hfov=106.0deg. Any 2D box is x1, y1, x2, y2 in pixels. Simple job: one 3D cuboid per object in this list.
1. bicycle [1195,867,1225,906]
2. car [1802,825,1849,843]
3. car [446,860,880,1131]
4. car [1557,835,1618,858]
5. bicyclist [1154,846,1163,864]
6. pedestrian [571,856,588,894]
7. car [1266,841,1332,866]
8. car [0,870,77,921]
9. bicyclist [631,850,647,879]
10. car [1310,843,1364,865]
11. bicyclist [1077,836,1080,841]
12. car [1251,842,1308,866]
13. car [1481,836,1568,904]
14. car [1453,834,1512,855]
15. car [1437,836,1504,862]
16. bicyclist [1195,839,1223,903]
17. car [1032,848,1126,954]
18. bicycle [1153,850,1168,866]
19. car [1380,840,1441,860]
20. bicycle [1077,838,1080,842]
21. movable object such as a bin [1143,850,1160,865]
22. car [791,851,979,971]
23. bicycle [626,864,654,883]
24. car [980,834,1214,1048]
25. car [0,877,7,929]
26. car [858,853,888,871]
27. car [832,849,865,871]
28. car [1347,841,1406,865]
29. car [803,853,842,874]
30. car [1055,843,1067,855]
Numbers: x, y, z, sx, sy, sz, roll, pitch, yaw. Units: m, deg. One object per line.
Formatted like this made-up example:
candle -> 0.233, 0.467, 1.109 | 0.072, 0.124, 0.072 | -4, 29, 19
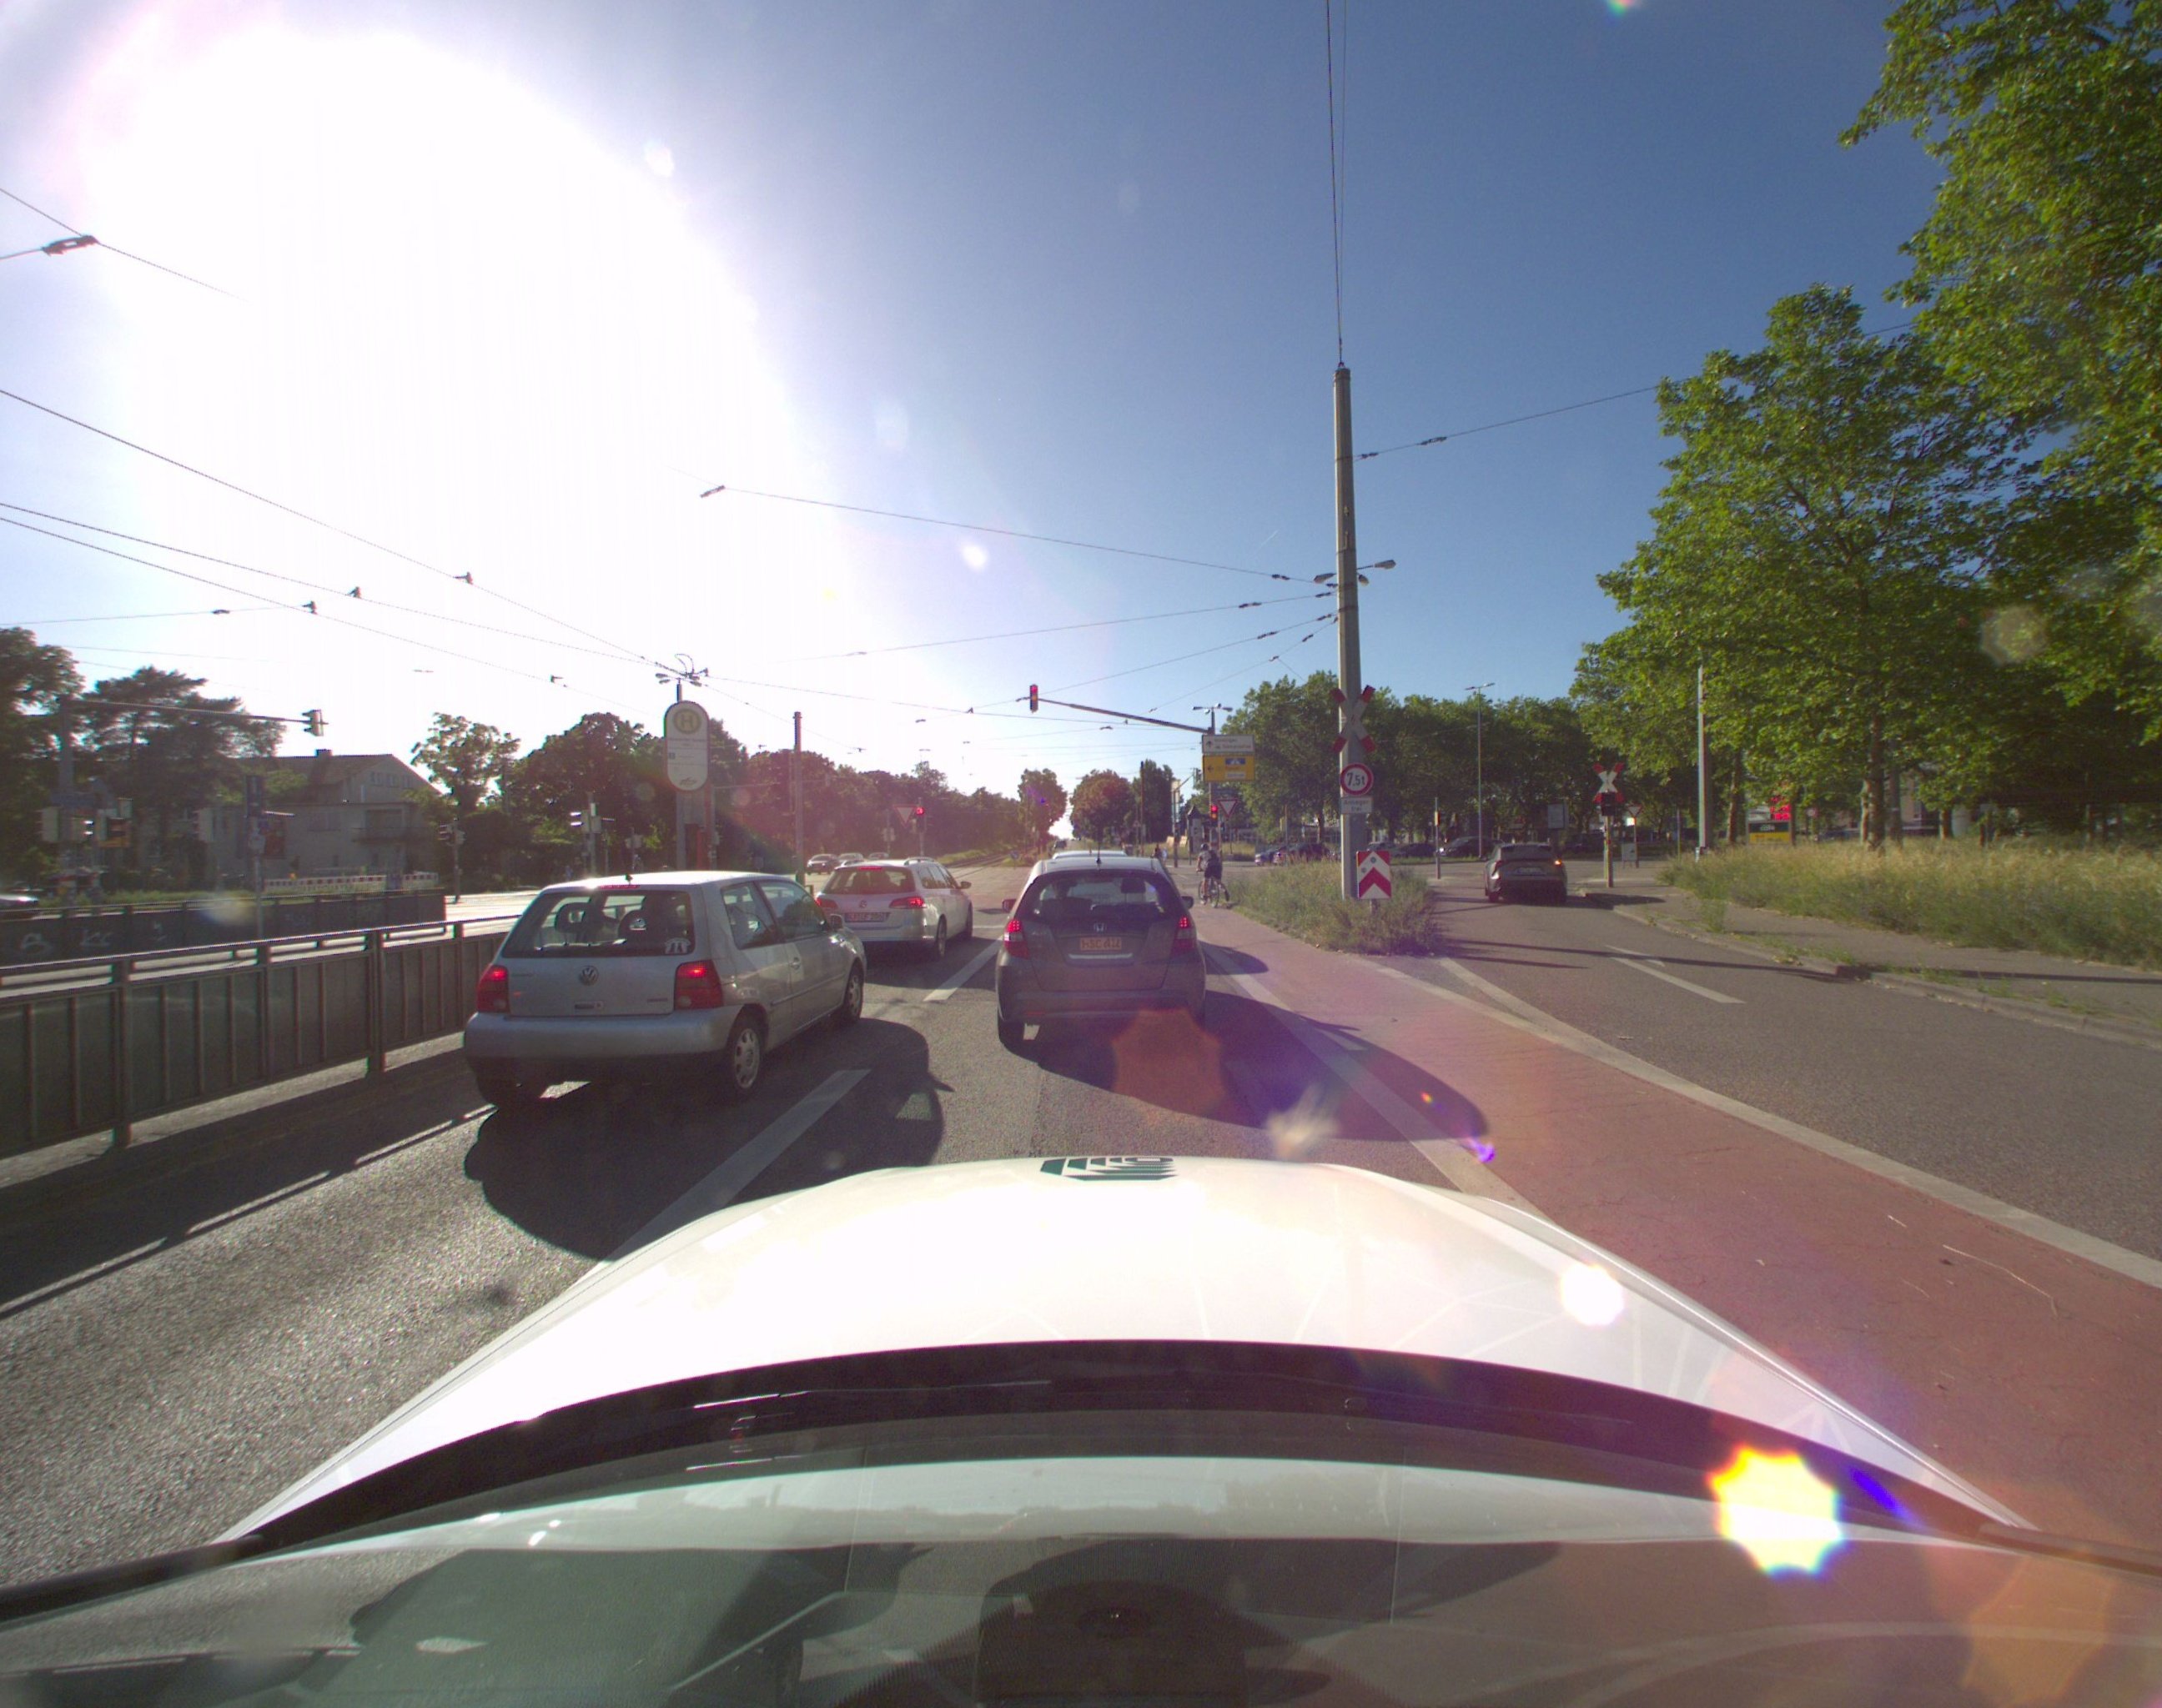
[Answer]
bicycle -> 3.450, 0.850, 21.925 | 0.522, 0.923, 2.090 | -2, 0, 2
car -> 72.277, -1.936, 79.069 | 4.007, 1.618, 1.983 | -2, 0, -26
car -> -2.805, 0.820, 6.357 | 1.576, 1.468, 3.414 | -1, 0, 0
car -> 49.307, -0.711, 79.331 | 5.112, 2.070, 2.120 | -1, 0, -15
bicyclist -> 5.584, 0.075, 58.658 | 0.510, 1.340, 0.562 | -2, 0, -14
pedestrian -> -26.158, 1.107, 42.468 | 0.615, 1.948, 0.767 | -2, 1, -43
car -> 14.954, -0.039, 55.798 | 4.095, 1.600, 1.802 | -2, 0, -23
car -> -33.840, 1.294, 24.404 | 4.258, 1.466, 1.921 | -1, 0, -27
bicyclist -> -25.424, 0.601, 46.822 | 0.487, 1.608, 0.648 | -2, 0, 1
car -> 19.667, -0.005, 62.467 | 3.869, 1.600, 1.698 | -2, 0, -27
bicyclist -> -0.732, -4.605, 243.629 | 0.815, 1.524, 0.966 | 0, -1, 0
car -> 14.650, 0.011, 59.998 | 3.869, 1.600, 1.698 | -2, 0, -27
car -> 12.153, 0.378, 22.501 | 1.804, 1.704, 3.794 | 0, 1, 24
car -> 33.635, -0.776, 68.190 | 4.785, 1.682, 1.892 | 0, -1, -26
car -> 27.303, -0.347, 57.085 | 4.504, 1.711, 1.904 | -2, 0, -27
bicyclist -> 3.422, 0.441, 21.824 | 0.612, 1.679, 0.934 | -2, 0, 2
car -> -0.017, 0.684, 13.563 | 1.347, 1.527, 3.123 | -2, 0, 0
bicycle -> 5.664, 0.297, 58.220 | 0.467, 1.119, 1.812 | -1, 0, -13
car -> 26.367, -0.329, 65.169 | 4.579, 1.408, 1.918 | -2, 0, -26
bicycle -> -0.739, -4.240, 243.606 | 0.815, 1.048, 2.506 | 0, -1, 1
movable object such as a bin -> 5.219, 0.263, 60.030 | 0.909, 1.068, 1.311 | 0, 0, -12
car -> -2.891, 0.752, 13.067 | 1.871, 1.527, 4.421 | -2, 0, 0
bicycle -> -25.418, 1.121, 46.987 | 0.505, 1.042, 1.949 | -2, 0, 1
car -> 0.177, 0.625, 7.781 | 1.664, 1.515, 3.675 | -2, 0, 2
car -> -32.221, 1.445, 21.315 | 4.646, 1.477, 1.658 | -2, 0, -27
car -> -18.934, 0.709, 74.261 | 1.810, 1.596, 4.685 | -1, 0, -5
car -> -18.777, 0.481, 65.954 | 1.788, 1.687, 3.994 | -2, 0, -5
car -> 21.423, -0.049, 58.983 | 3.864, 1.600, 1.700 | -2, 0, -23
car -> -18.923, 0.654, 59.760 | 1.679, 1.458, 3.701 | -2, 0, -2
car -> -3.417, -0.856, 142.538 | 1.987, 2.014, 4.000 | 0, -1, 0
